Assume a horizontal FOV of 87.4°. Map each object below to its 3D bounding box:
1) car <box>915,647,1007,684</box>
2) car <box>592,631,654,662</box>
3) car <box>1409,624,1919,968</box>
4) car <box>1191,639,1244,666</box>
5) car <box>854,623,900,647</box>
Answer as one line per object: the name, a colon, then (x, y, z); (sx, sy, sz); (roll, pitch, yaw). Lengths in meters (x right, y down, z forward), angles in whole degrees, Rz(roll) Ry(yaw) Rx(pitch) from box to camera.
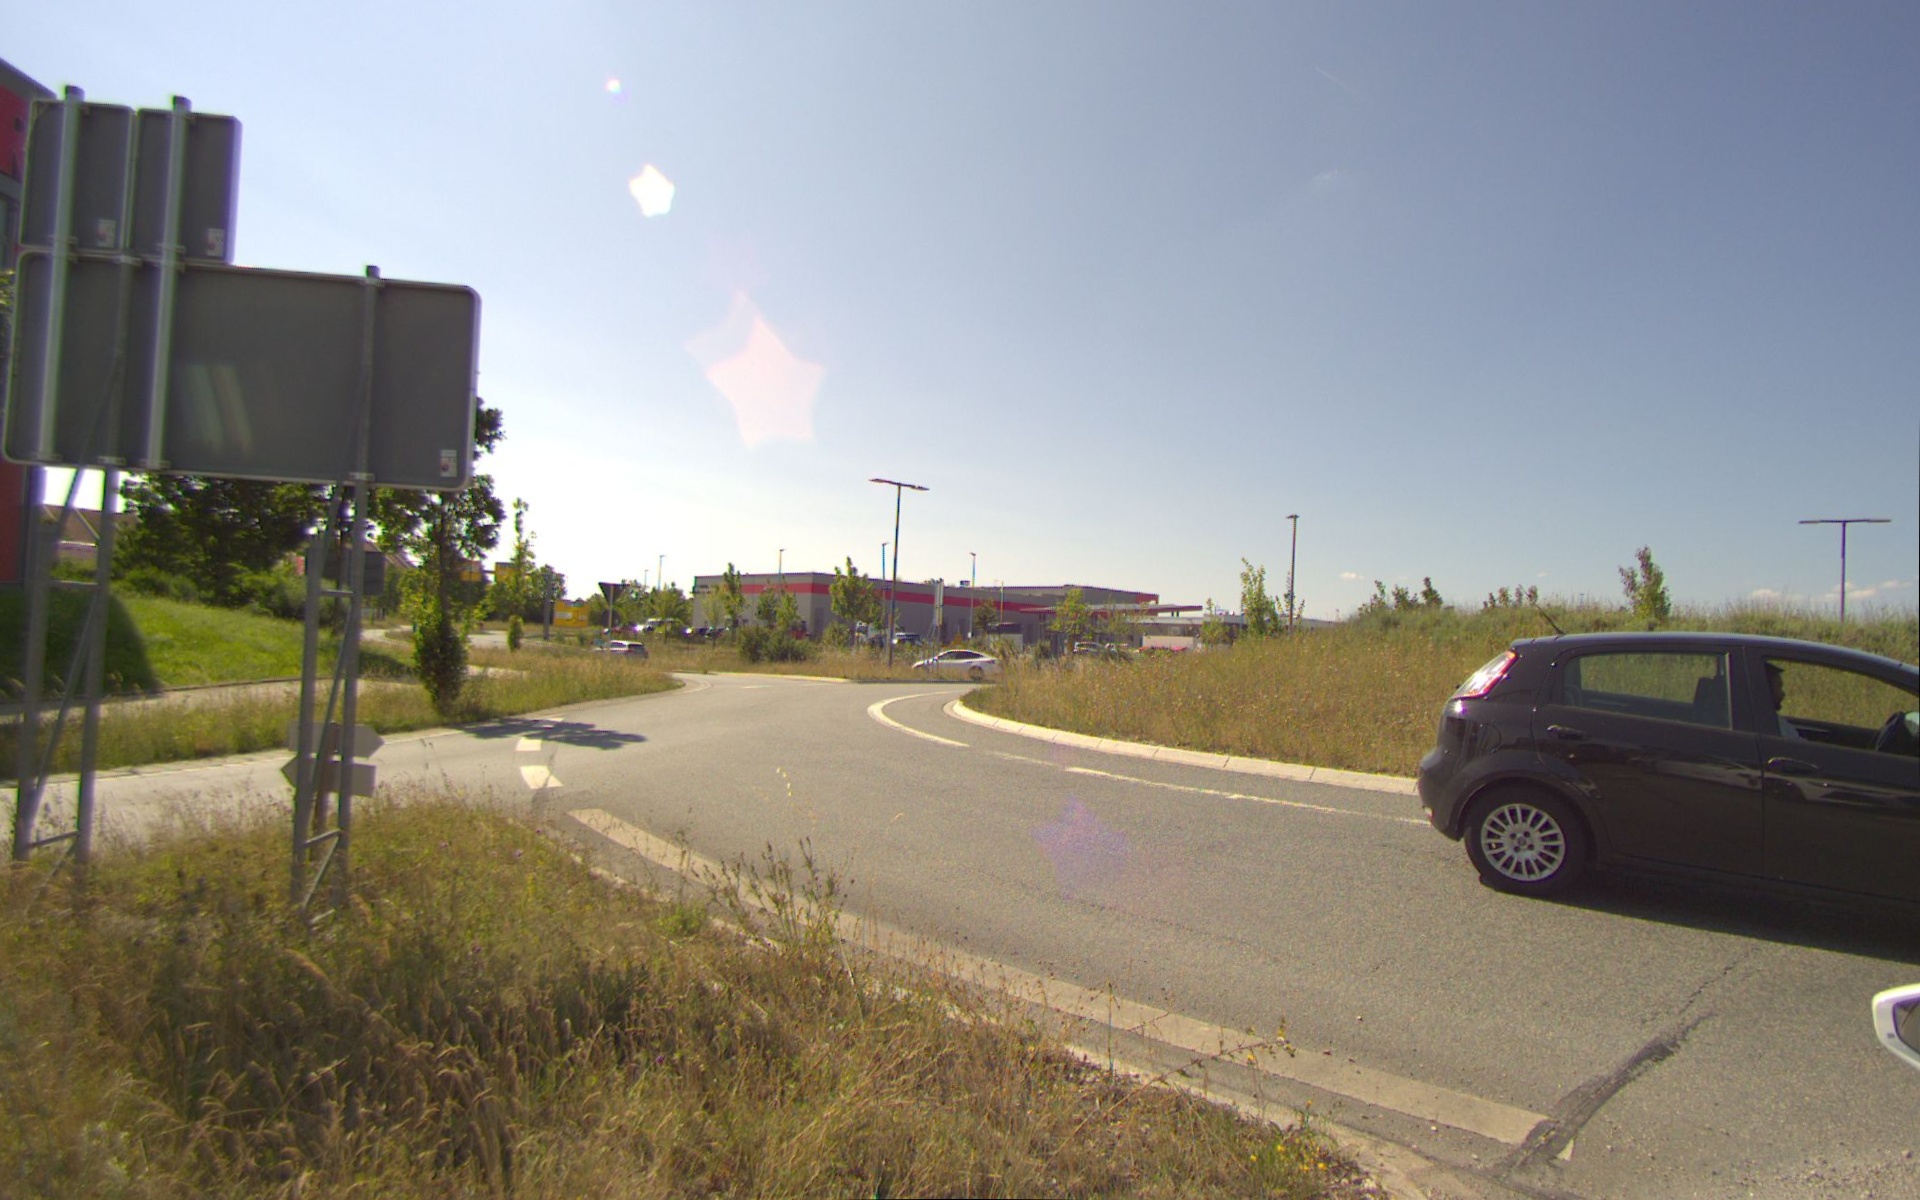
car: (0.056, 3.237, 49.618); (4.193, 1.594, 1.728); (2, -2, 20)
car: (-20.850, 2.869, 62.161); (3.705, 1.795, 1.688); (1, -3, 34)
car: (4.634, 0.937, 5.356); (3.840, 1.507, 1.639); (1, -2, 36)
car: (21.761, 4.464, 84.672); (1.973, 2.040, 5.105); (1, -3, 45)
car: (-7.707, 3.235, 93.410); (1.973, 2.040, 3.977); (0, -3, 44)
